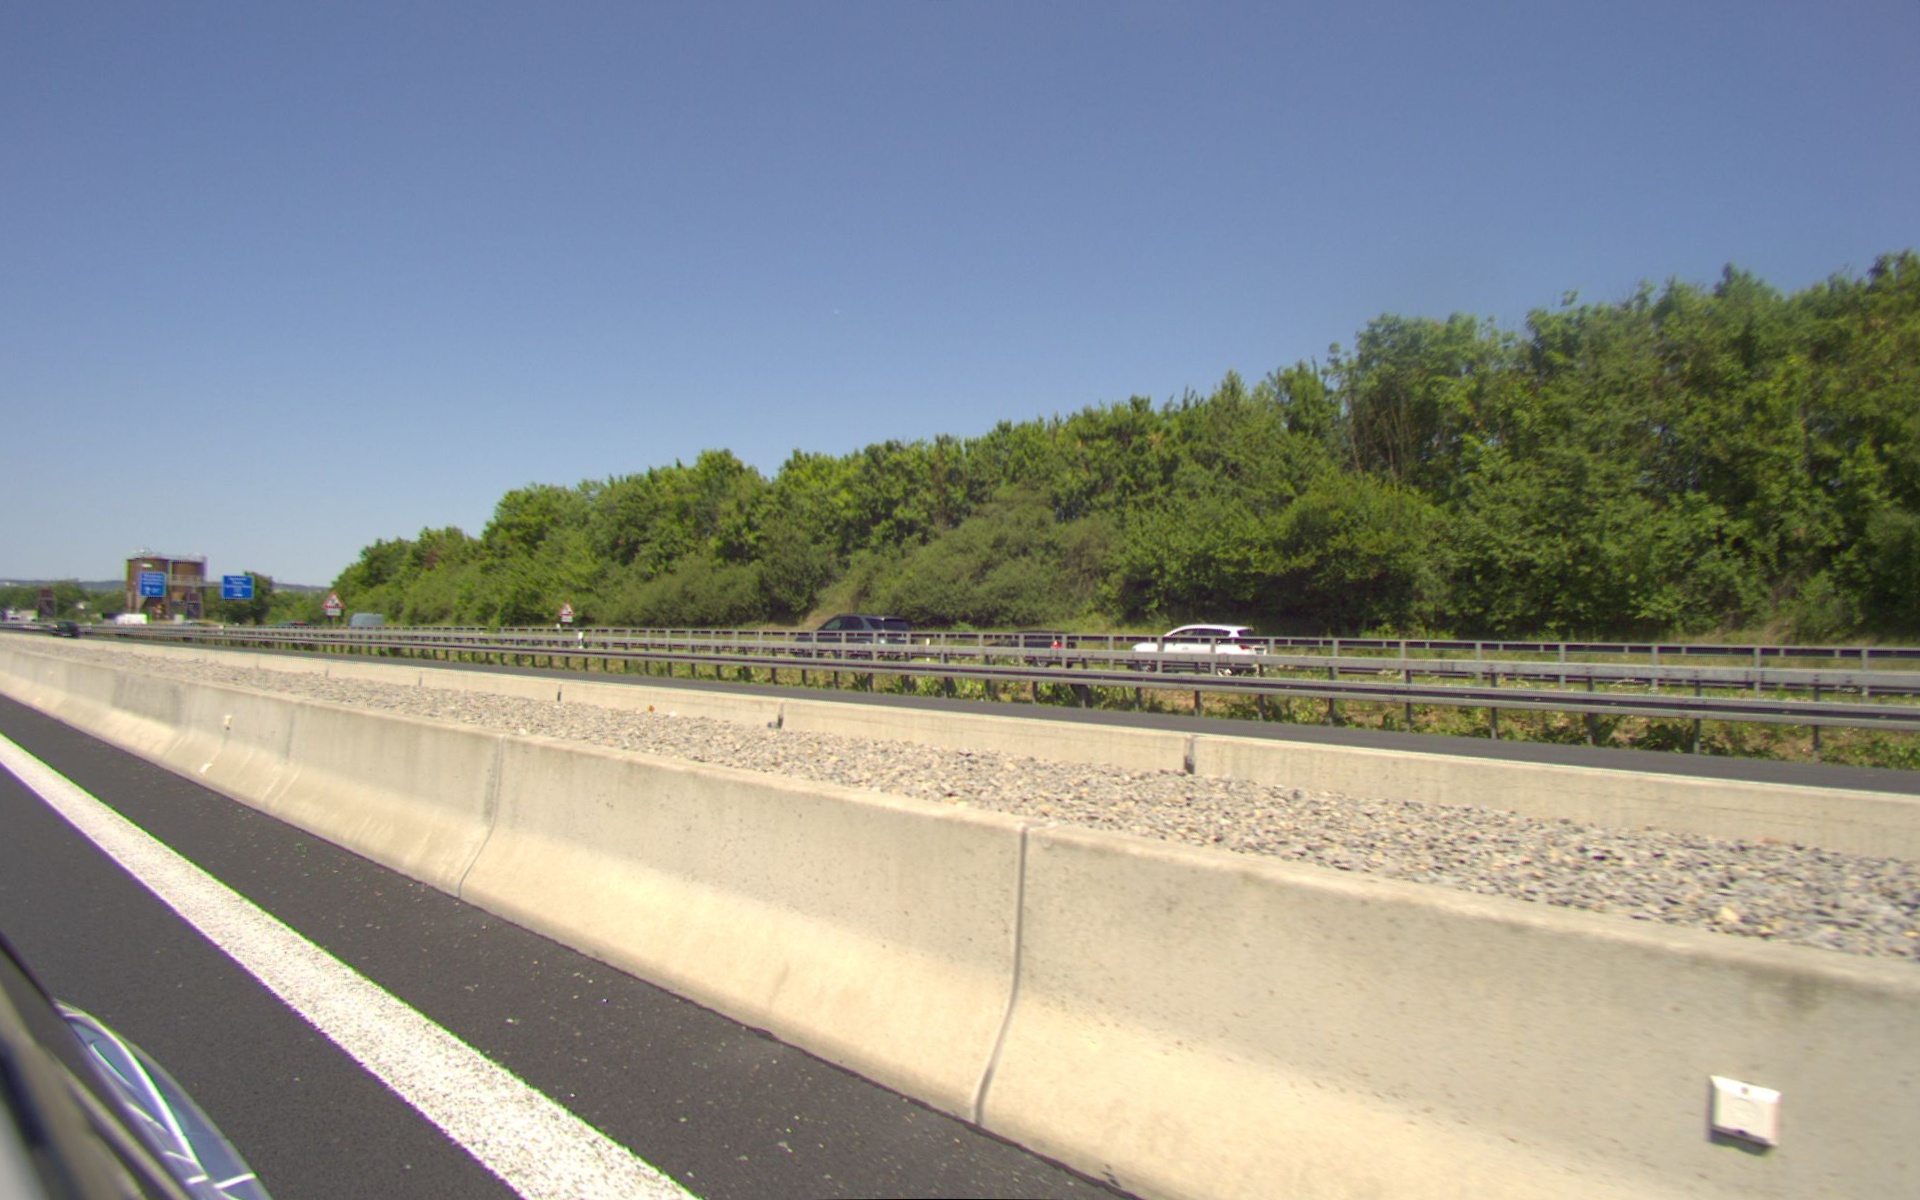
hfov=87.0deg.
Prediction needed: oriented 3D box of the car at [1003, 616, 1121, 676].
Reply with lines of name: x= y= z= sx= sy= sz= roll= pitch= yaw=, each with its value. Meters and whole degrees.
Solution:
car: x=3.722 y=1.626 z=37.380 sx=4.021 sy=2.029 sz=1.925 roll=0 pitch=0 yaw=43

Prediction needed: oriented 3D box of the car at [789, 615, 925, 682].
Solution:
car: x=-3.532 y=1.555 z=34.090 sx=4.764 sy=2.029 sz=1.925 roll=0 pitch=0 yaw=43

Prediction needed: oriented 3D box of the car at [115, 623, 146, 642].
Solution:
car: x=-95.982 y=3.723 z=117.014 sx=5.347 sy=2.029 sz=1.972 roll=0 pitch=0 yaw=42

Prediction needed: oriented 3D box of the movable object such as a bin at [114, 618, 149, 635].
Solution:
movable object such as a bin: x=-110.124 y=3.490 z=134.506 sx=6.775 sy=2.029 sz=2.482 roll=0 pitch=0 yaw=40

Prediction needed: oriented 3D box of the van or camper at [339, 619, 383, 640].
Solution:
van or camper: x=-53.895 y=2.659 z=91.039 sx=5.528 sy=1.812 sz=1.972 roll=-1 pitch=-2 yaw=43

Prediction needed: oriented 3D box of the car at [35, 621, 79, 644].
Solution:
car: x=-66.000 y=2.348 z=73.975 sx=4.155 sy=1.545 sz=1.815 roll=-1 pitch=0 yaw=40

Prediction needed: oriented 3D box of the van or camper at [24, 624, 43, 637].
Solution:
van or camper: x=-180.916 y=5.922 z=197.609 sx=6.964 sy=2.272 sz=2.085 roll=0 pitch=0 yaw=42

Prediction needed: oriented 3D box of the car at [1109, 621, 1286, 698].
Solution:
car: x=6.983 y=1.684 z=30.021 sx=4.759 sy=2.029 sz=1.927 roll=-1 pitch=0 yaw=39

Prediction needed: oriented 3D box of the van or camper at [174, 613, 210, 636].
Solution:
van or camper: x=-73.124 y=2.315 z=96.359 sx=3.998 sy=2.029 sz=1.973 roll=0 pitch=0 yaw=41
